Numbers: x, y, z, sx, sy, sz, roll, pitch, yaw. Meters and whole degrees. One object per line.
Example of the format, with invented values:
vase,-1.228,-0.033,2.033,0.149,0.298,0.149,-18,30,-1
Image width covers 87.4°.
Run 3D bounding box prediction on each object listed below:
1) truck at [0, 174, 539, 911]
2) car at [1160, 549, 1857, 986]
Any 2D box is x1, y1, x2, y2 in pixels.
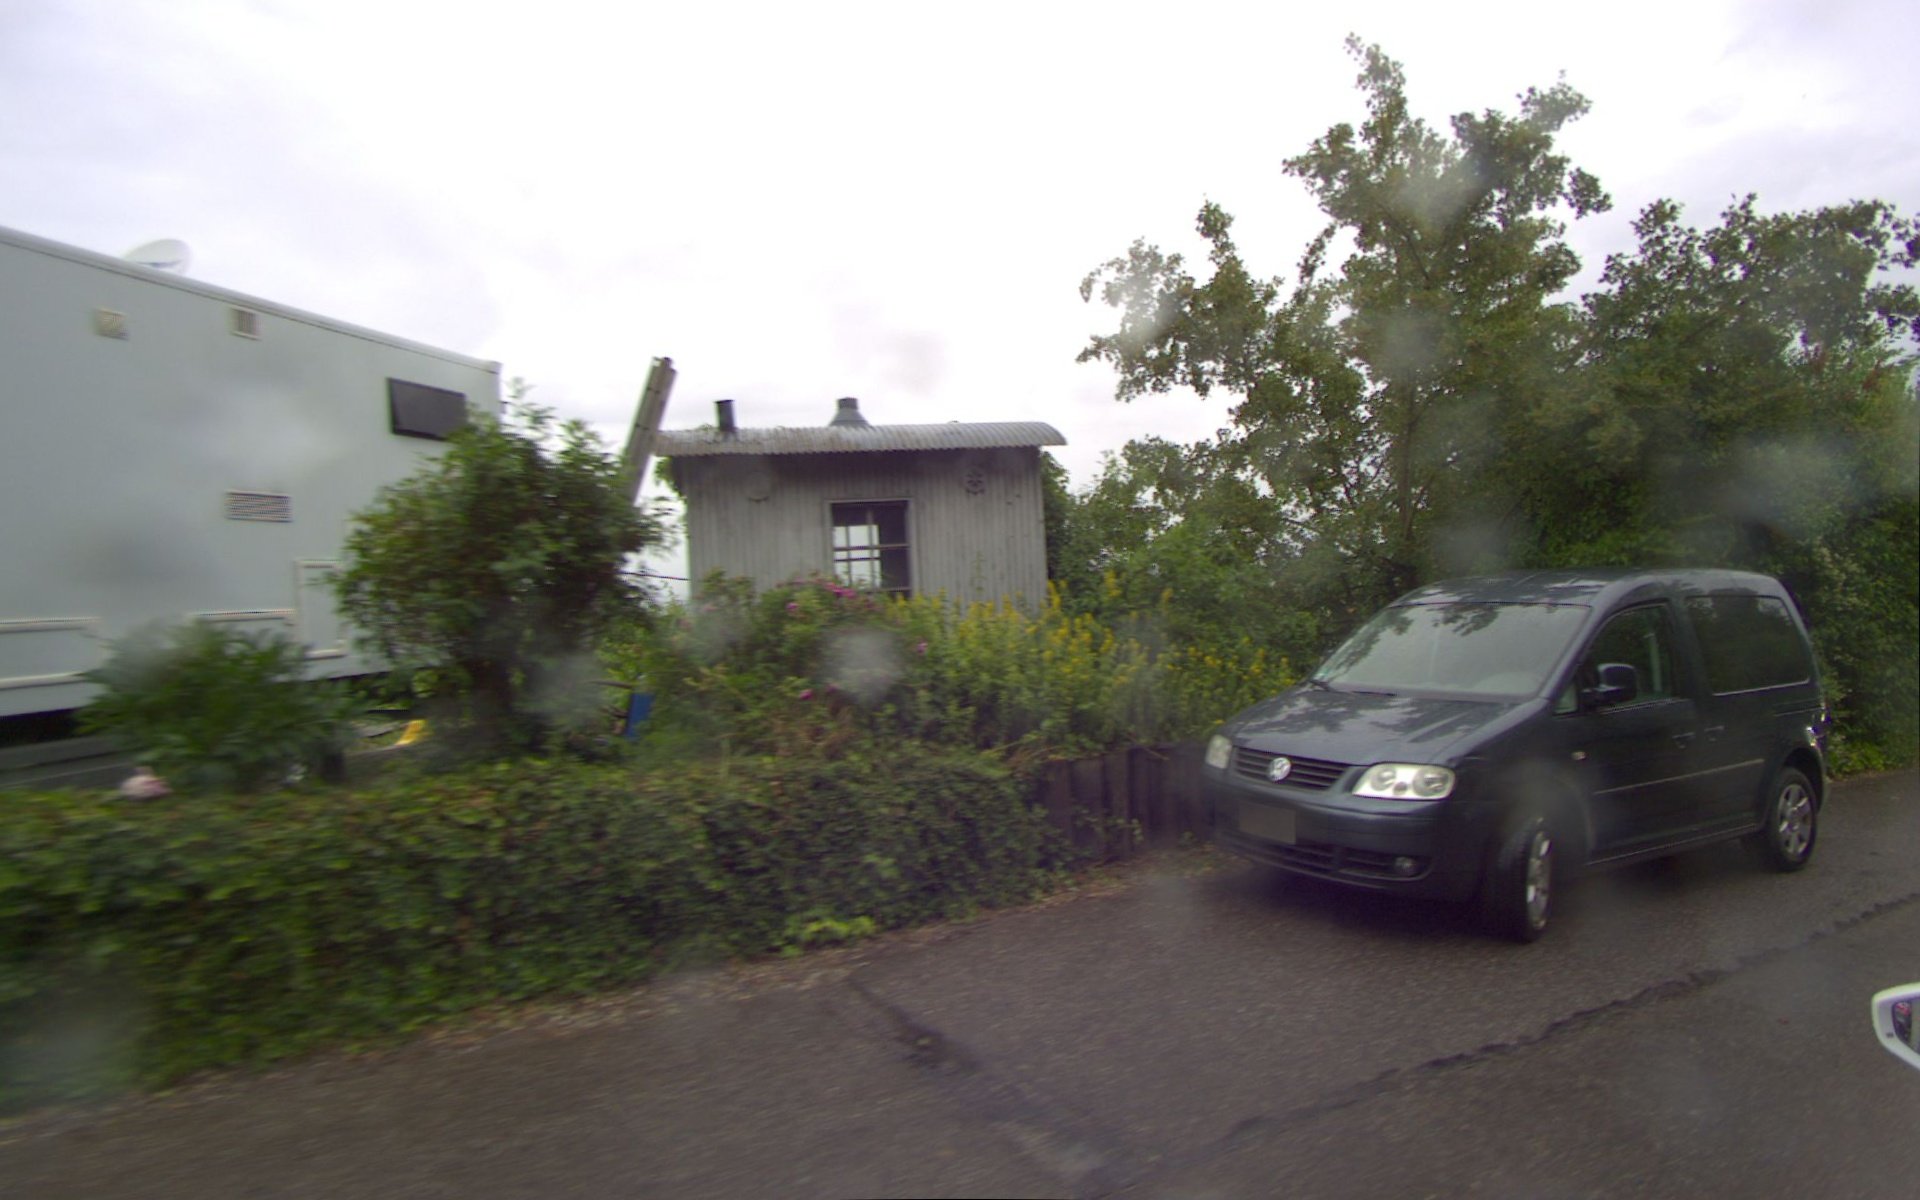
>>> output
truck,-6.280,-0.344,5.681,2.620,3.862,8.132,3,4,16
car,3.340,0.712,5.929,4.181,1.806,1.682,0,-1,-30
